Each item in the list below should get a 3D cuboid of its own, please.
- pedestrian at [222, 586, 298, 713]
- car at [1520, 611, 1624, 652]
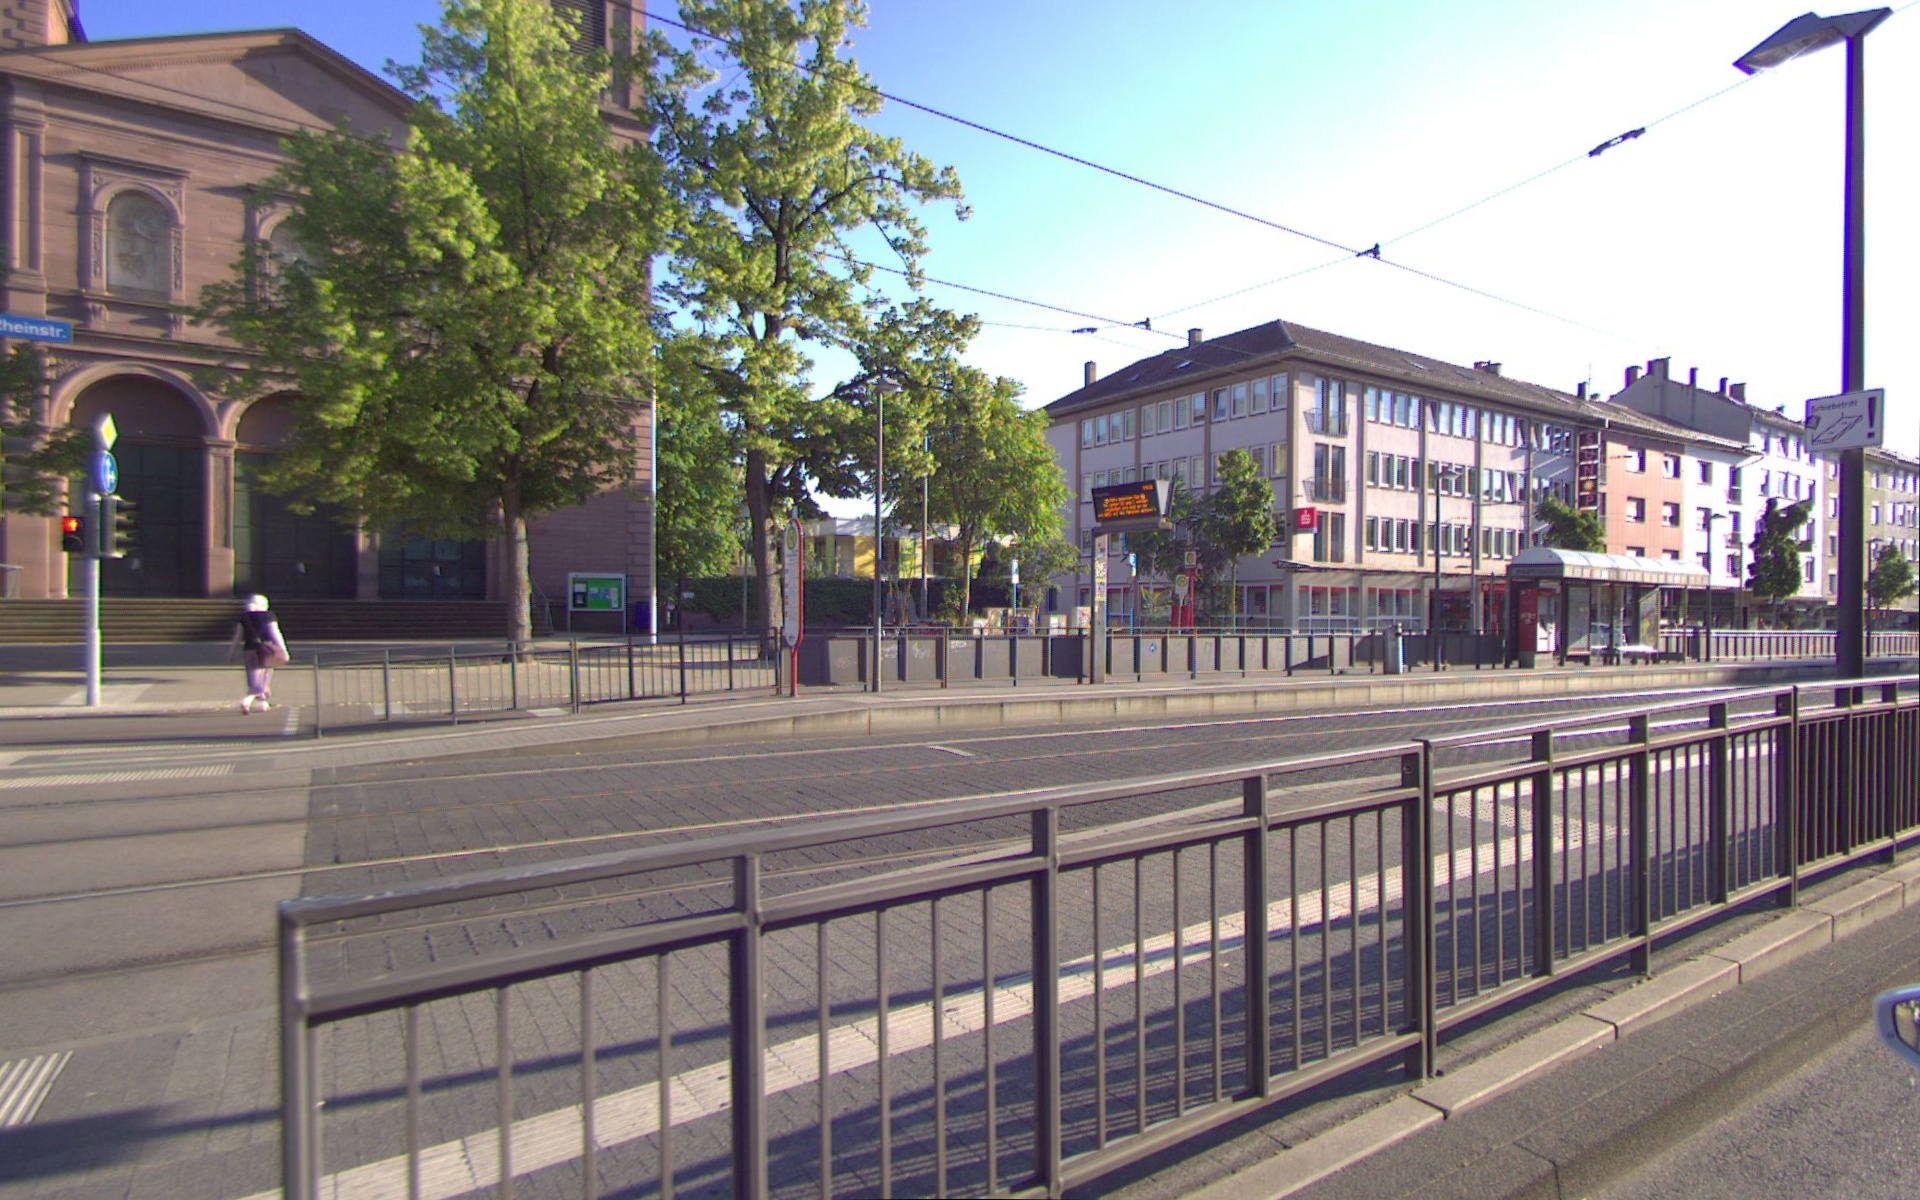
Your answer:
[{"bbox_3d":[-10.302,0.711,14.814,0.822,1.783,0.914,1,-1,-31],"label":"pedestrian"},{"bbox_3d":[26.676,1.343,43.842,3.439,1.702,1.772,1,0,7],"label":"car"}]
